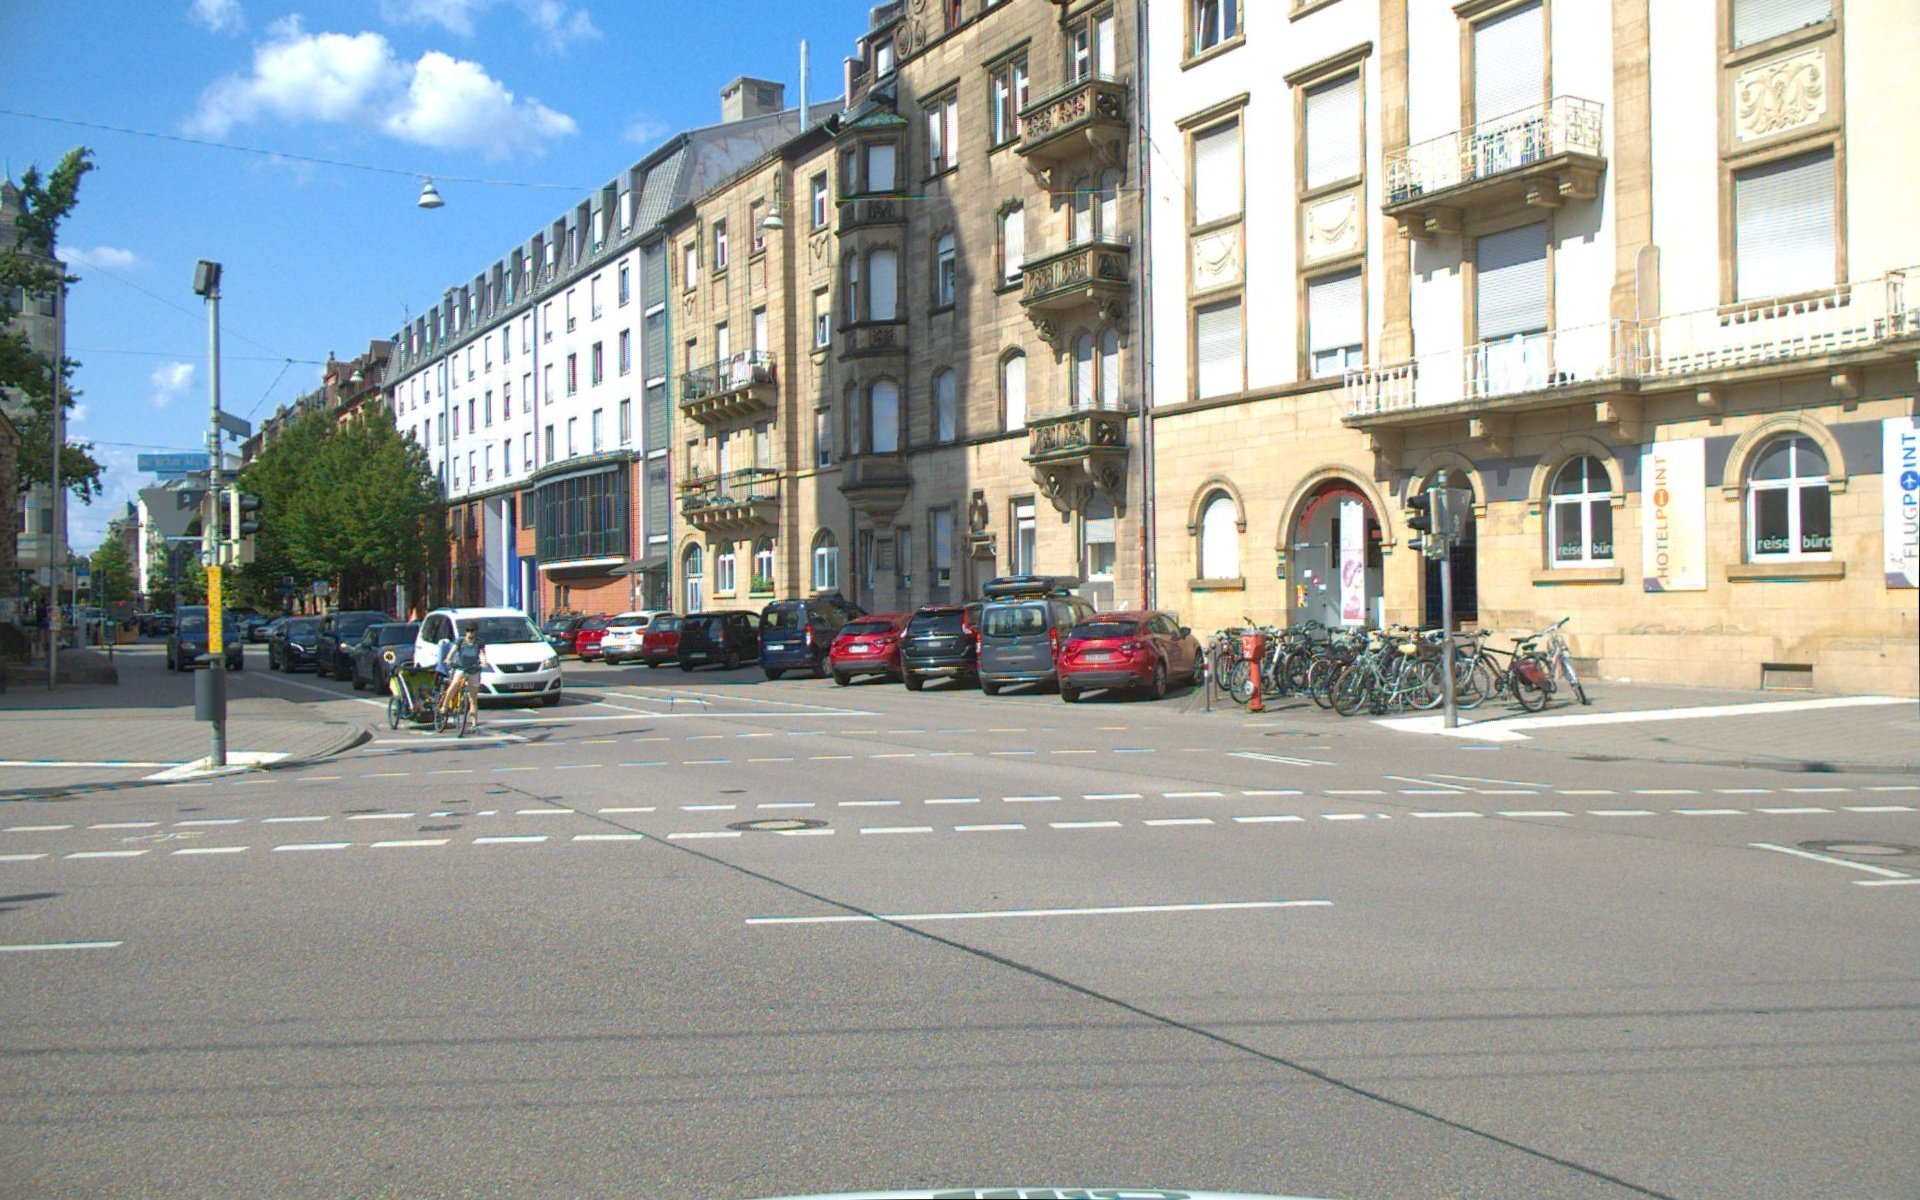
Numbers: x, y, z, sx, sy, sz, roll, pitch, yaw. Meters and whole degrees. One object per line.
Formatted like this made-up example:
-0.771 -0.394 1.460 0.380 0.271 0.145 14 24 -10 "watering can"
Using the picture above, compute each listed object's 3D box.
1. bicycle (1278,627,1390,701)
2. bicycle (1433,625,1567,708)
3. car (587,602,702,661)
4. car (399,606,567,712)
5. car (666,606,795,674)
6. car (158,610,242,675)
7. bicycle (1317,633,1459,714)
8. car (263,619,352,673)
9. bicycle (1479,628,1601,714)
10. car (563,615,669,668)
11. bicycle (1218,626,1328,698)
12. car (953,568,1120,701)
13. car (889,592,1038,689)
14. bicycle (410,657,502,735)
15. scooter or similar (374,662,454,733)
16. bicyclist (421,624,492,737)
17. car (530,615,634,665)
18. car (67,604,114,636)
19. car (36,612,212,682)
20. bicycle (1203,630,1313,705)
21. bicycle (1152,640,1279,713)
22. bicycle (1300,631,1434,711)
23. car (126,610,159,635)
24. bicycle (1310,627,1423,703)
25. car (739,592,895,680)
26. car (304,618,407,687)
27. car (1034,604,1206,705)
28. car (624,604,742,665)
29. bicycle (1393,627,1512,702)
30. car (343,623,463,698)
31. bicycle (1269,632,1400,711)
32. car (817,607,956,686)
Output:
6.030 1.009 26.602 1.904 1.036 0.534 -4 1 -33 "bicycle"
7.710 0.936 23.617 1.846 1.036 0.606 -3 1 -23 "bicycle"
-9.514 0.939 50.162 1.568 1.526 3.776 -2 1 22 "car"
-8.809 1.012 30.282 1.791 1.770 4.612 -1 0 -32 "car"
-6.206 1.068 45.216 1.670 1.573 4.001 -2 1 22 "car"
-22.099 1.181 48.025 1.791 1.693 4.031 -1 1 -31 "car"
6.113 1.044 23.668 1.835 1.036 0.602 -3 1 -6 "bicycle"
-18.466 1.270 46.716 1.681 1.415 3.819 -1 0 -32 "car"
8.047 0.965 22.910 1.855 1.036 0.602 -3 1 -35 "bicycle"
-10.948 1.293 52.837 1.568 1.421 3.573 -2 1 22 "car"
5.195 1.017 27.416 1.904 1.036 0.534 -4 1 -33 "bicycle"
1.565 0.612 32.074 1.921 2.117 4.002 -2 4 22 "car"
0.146 0.796 34.301 1.670 1.697 4.001 -2 1 22 "car"
-7.266 1.355 23.785 0.645 1.006 2.108 0 0 -35 "bicycle"
-8.293 1.461 25.109 0.880 0.994 1.117 0 0 -36 "scooter or similar"
-7.246 1.140 23.797 0.645 1.529 0.910 -4 2 -35 "bicyclist"
-12.513 1.310 54.929 1.568 1.421 3.573 -2 1 22 "car"
-38.543 0.885 73.377 1.617 1.348 3.714 -1 0 -25 "car"
-21.096 1.176 41.736 3.881 1.681 2.031 -1 0 26 "car"
4.769 1.059 26.417 1.908 1.036 0.533 -4 1 -36 "bicycle"
3.852 1.152 25.074 1.894 1.036 0.537 -2 1 43 "bicycle"
6.022 1.032 24.447 1.893 1.036 0.537 -3 1 -18 "bicycle"
-62.654 1.733 126.697 1.973 1.847 3.958 -1 0 -31 "car"
6.403 0.999 26.029 1.904 1.036 0.534 -4 1 -33 "bicycle"
-3.430 0.845 40.328 1.874 1.856 3.996 -2 2 28 "car"
-15.303 1.281 41.767 1.681 1.624 4.027 -1 0 -32 "car"
2.903 0.923 29.259 1.921 1.466 4.000 -2 1 22 "car"
-7.959 0.969 47.775 1.568 1.481 3.776 -2 1 22 "car"
7.485 0.962 25.215 0.532 1.036 1.911 -3 1 -27 "bicycle"
-11.991 1.248 35.463 1.653 1.476 3.695 -1 0 -32 "car"
5.642 1.064 24.907 1.893 1.036 0.537 -3 1 -18 "bicycle"
-1.591 1.021 37.360 1.870 1.469 4.003 -2 1 17 "car"
